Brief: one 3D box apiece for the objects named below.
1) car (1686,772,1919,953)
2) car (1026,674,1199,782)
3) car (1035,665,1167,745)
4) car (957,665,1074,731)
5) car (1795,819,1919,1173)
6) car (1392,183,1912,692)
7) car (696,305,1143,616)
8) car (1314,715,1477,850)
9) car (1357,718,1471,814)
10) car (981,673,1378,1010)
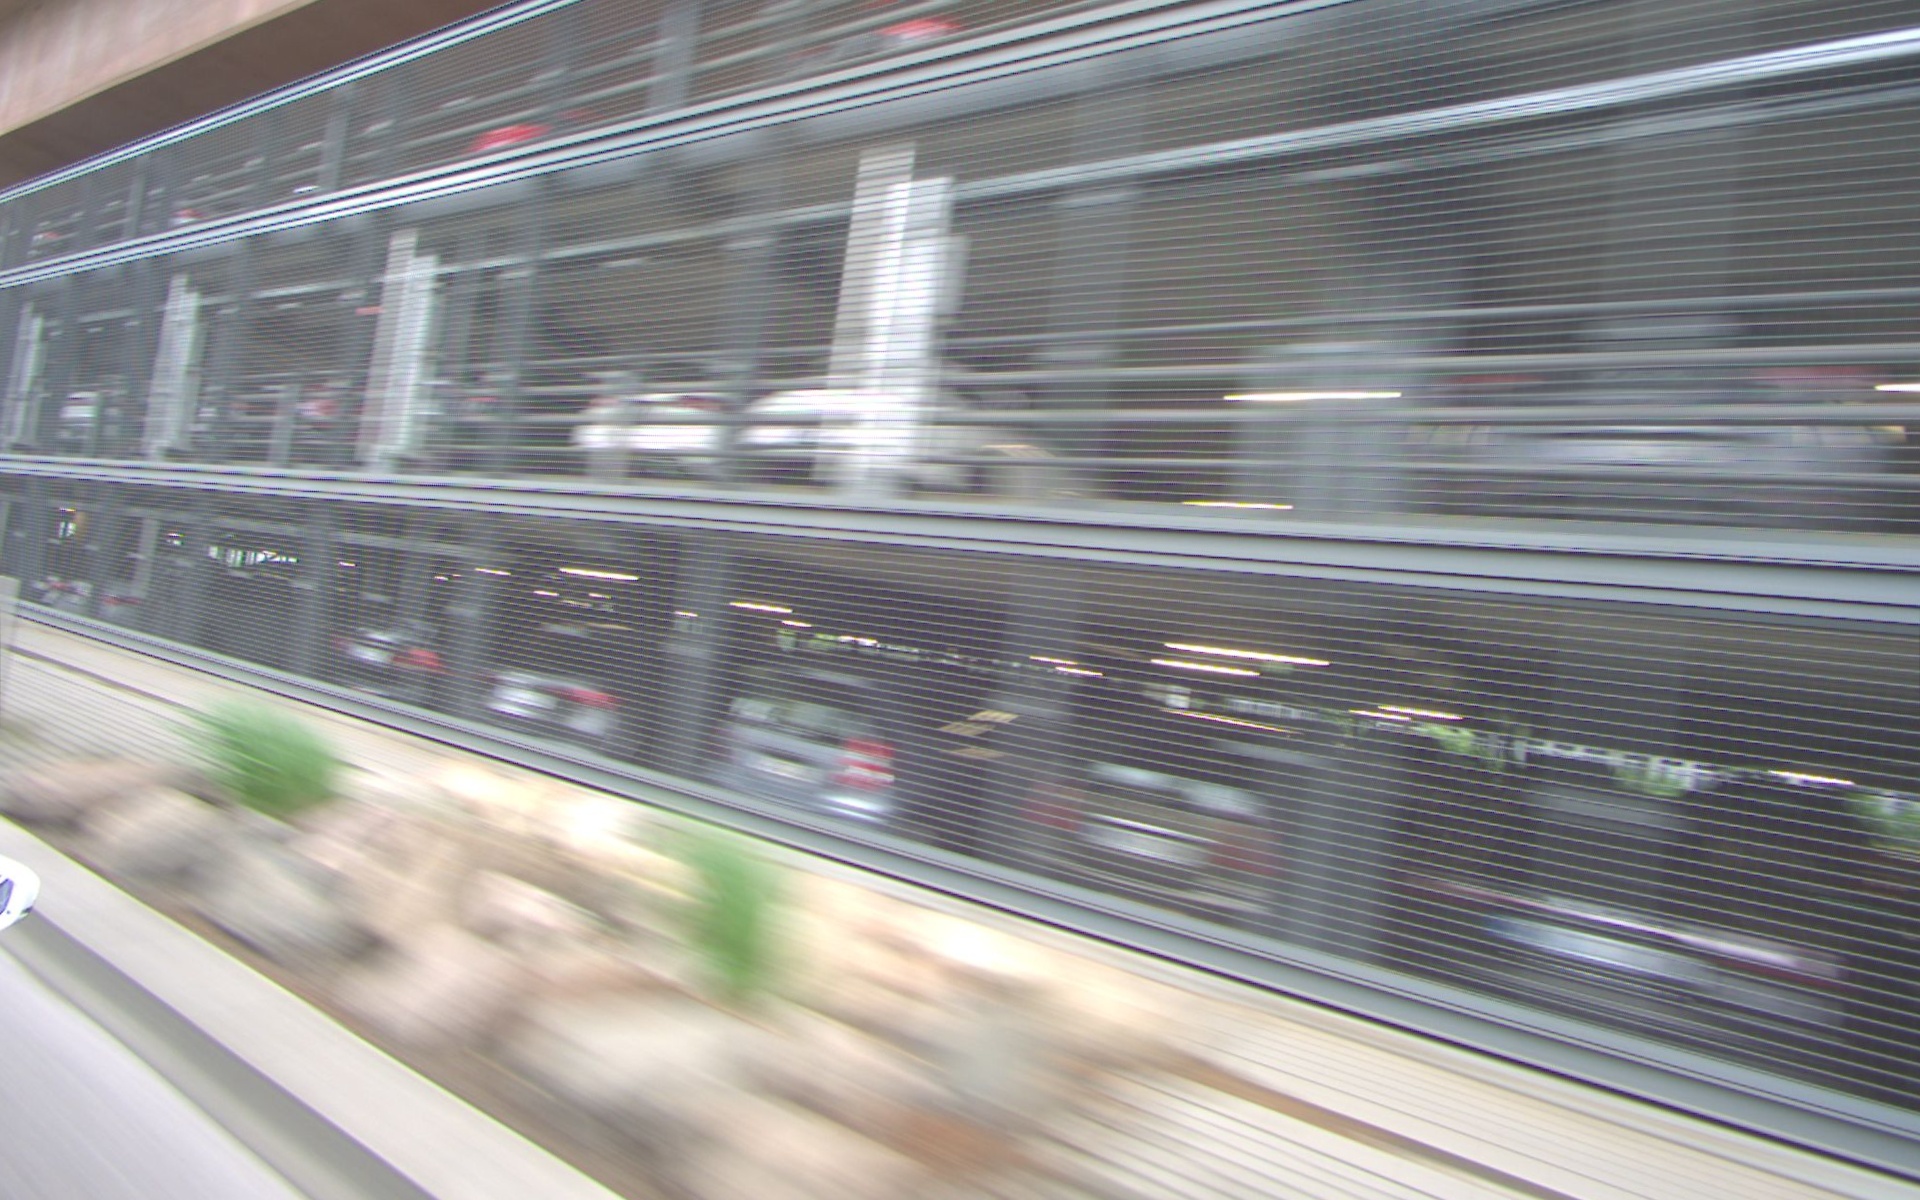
[{"bbox_3d":[11.043,3.305,13.415,1.693,1.632,3.999,7,-4,31],"label":"car"},{"bbox_3d":[3.040,2.495,19.382,1.694,1.632,3.998,7,-4,32],"label":"car"},{"bbox_3d":[3.540,2.612,24.711,1.791,1.554,3.652,7,-4,31],"label":"car"},{"bbox_3d":[1.509,2.601,26.353,1.485,1.329,3.477,7,-4,31],"label":"car"},{"bbox_3d":[5.676,2.099,4.859,1.780,1.482,3.999,7,-4,31],"label":"car"},{"bbox_3d":[3.993,-0.590,6.164,1.702,1.888,3.996,8,-2,32],"label":"car"},{"bbox_3d":[-0.099,-1.010,8.926,1.802,1.676,3.995,8,-3,33],"label":"car"},{"bbox_3d":[7.223,2.903,16.439,1.804,1.632,3.999,7,-4,31],"label":"car"},{"bbox_3d":[9.577,3.438,21.065,1.626,1.554,3.652,7,-4,31],"label":"car"},{"bbox_3d":[1.880,1.604,7.581,1.697,1.636,3.653,7,-4,31],"label":"car"}]
